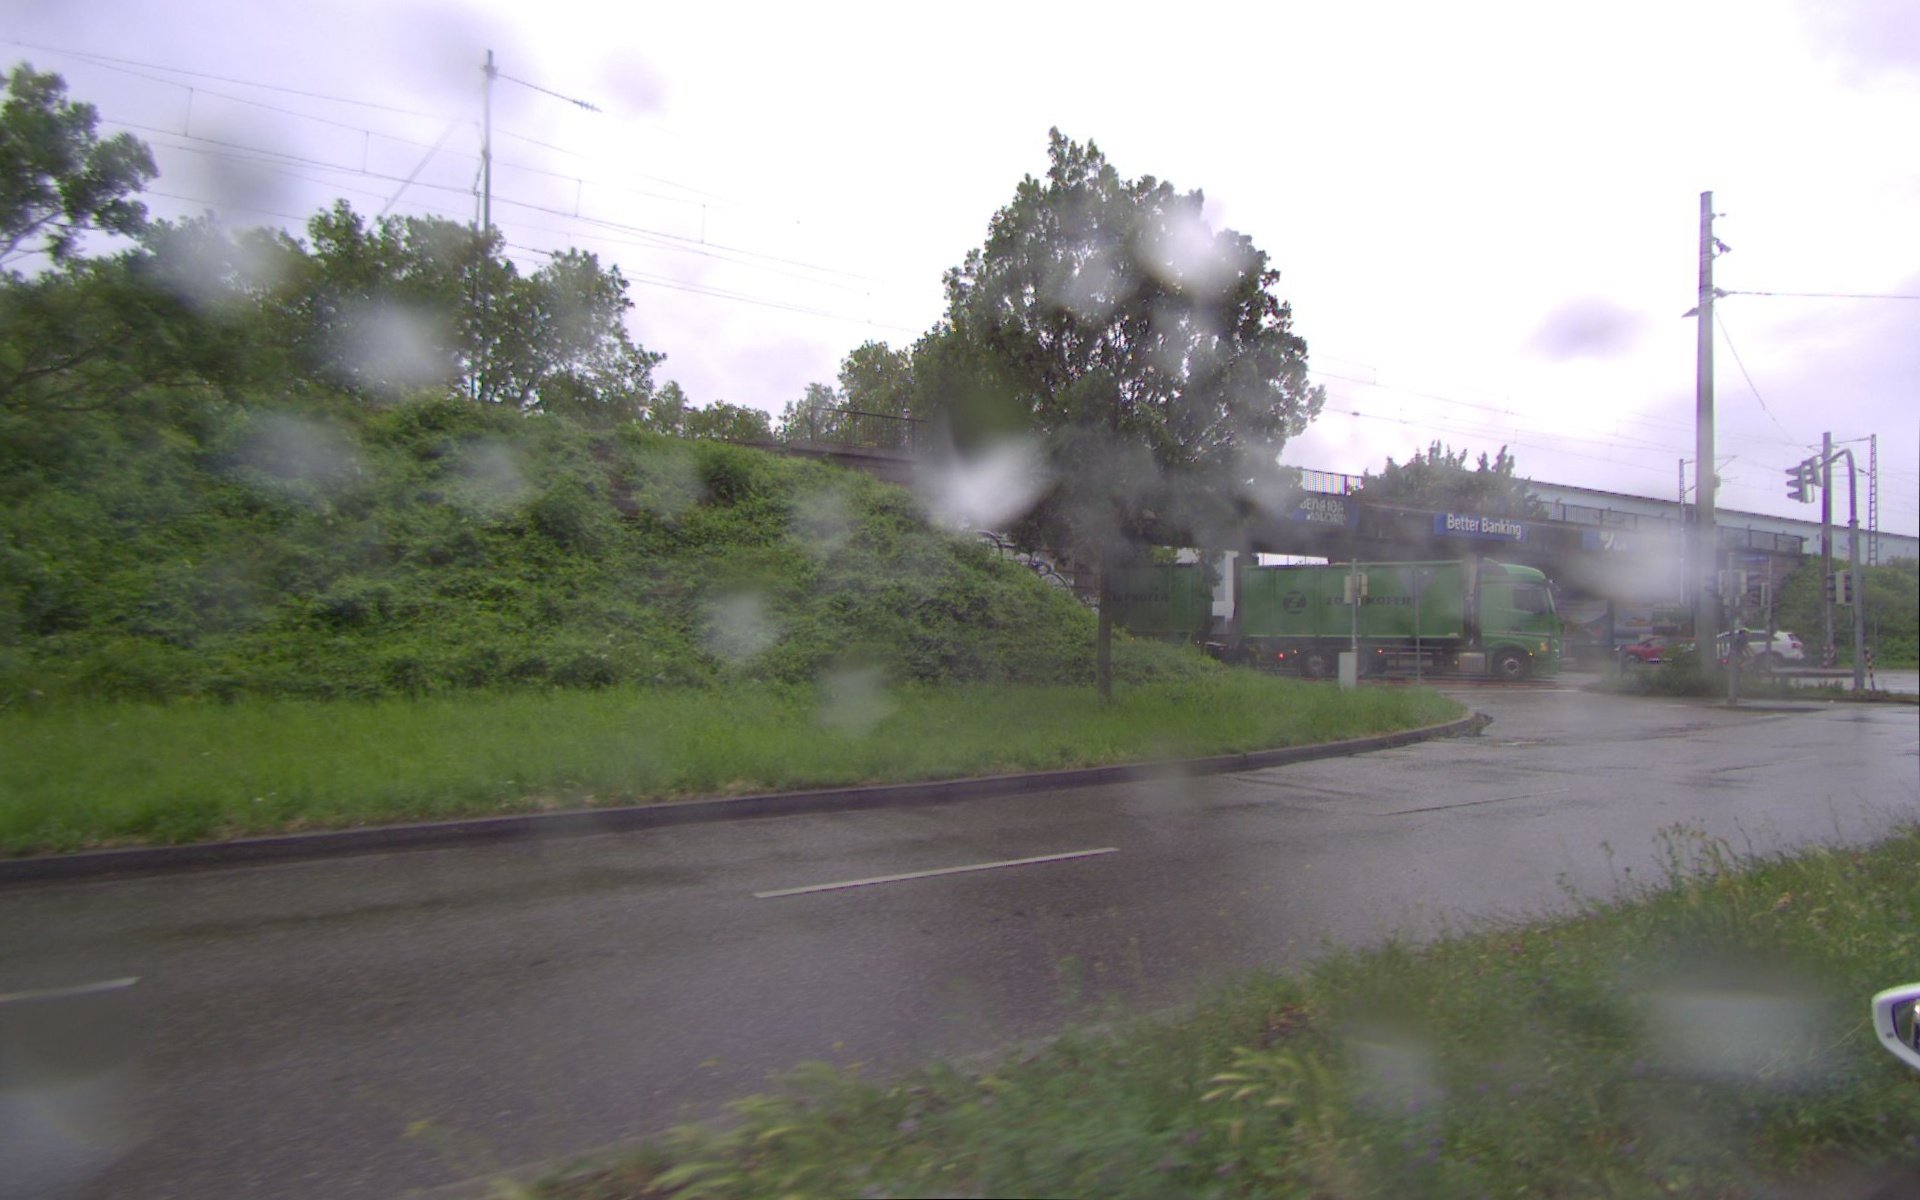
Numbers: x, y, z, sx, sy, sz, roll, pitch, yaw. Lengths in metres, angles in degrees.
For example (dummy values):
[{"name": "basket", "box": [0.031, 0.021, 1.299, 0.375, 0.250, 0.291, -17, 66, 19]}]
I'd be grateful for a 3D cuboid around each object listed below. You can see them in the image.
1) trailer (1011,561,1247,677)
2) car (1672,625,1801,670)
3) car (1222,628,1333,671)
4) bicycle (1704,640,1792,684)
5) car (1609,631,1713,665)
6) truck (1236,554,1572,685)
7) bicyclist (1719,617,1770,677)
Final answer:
[{"name": "trailer", "box": [6.328, 0.708, 37.855, 8.358, 4.039, 2.688, 0, -2, 25]}, {"name": "car", "box": [34.242, 2.069, 44.369, 4.378, 1.870, 1.989, -1, -2, 42]}, {"name": "car", "box": [12.290, 1.883, 38.841, 3.924, 1.594, 1.999, -1, -2, 24]}, {"name": "bicycle", "box": [22.014, 1.713, 28.105, 1.880, 1.109, 0.693, 1, 0, 34]}, {"name": "car", "box": [33.984, 2.291, 48.793, 3.927, 1.523, 1.770, 0, -1, 28]}, {"name": "truck", "box": [14.699, 0.664, 34.049, 10.001, 4.001, 2.686, 0, -2, 24]}, {"name": "bicyclist", "box": [21.969, 1.304, 28.147, 1.029, 1.614, 0.803, 1, -1, 33]}]
